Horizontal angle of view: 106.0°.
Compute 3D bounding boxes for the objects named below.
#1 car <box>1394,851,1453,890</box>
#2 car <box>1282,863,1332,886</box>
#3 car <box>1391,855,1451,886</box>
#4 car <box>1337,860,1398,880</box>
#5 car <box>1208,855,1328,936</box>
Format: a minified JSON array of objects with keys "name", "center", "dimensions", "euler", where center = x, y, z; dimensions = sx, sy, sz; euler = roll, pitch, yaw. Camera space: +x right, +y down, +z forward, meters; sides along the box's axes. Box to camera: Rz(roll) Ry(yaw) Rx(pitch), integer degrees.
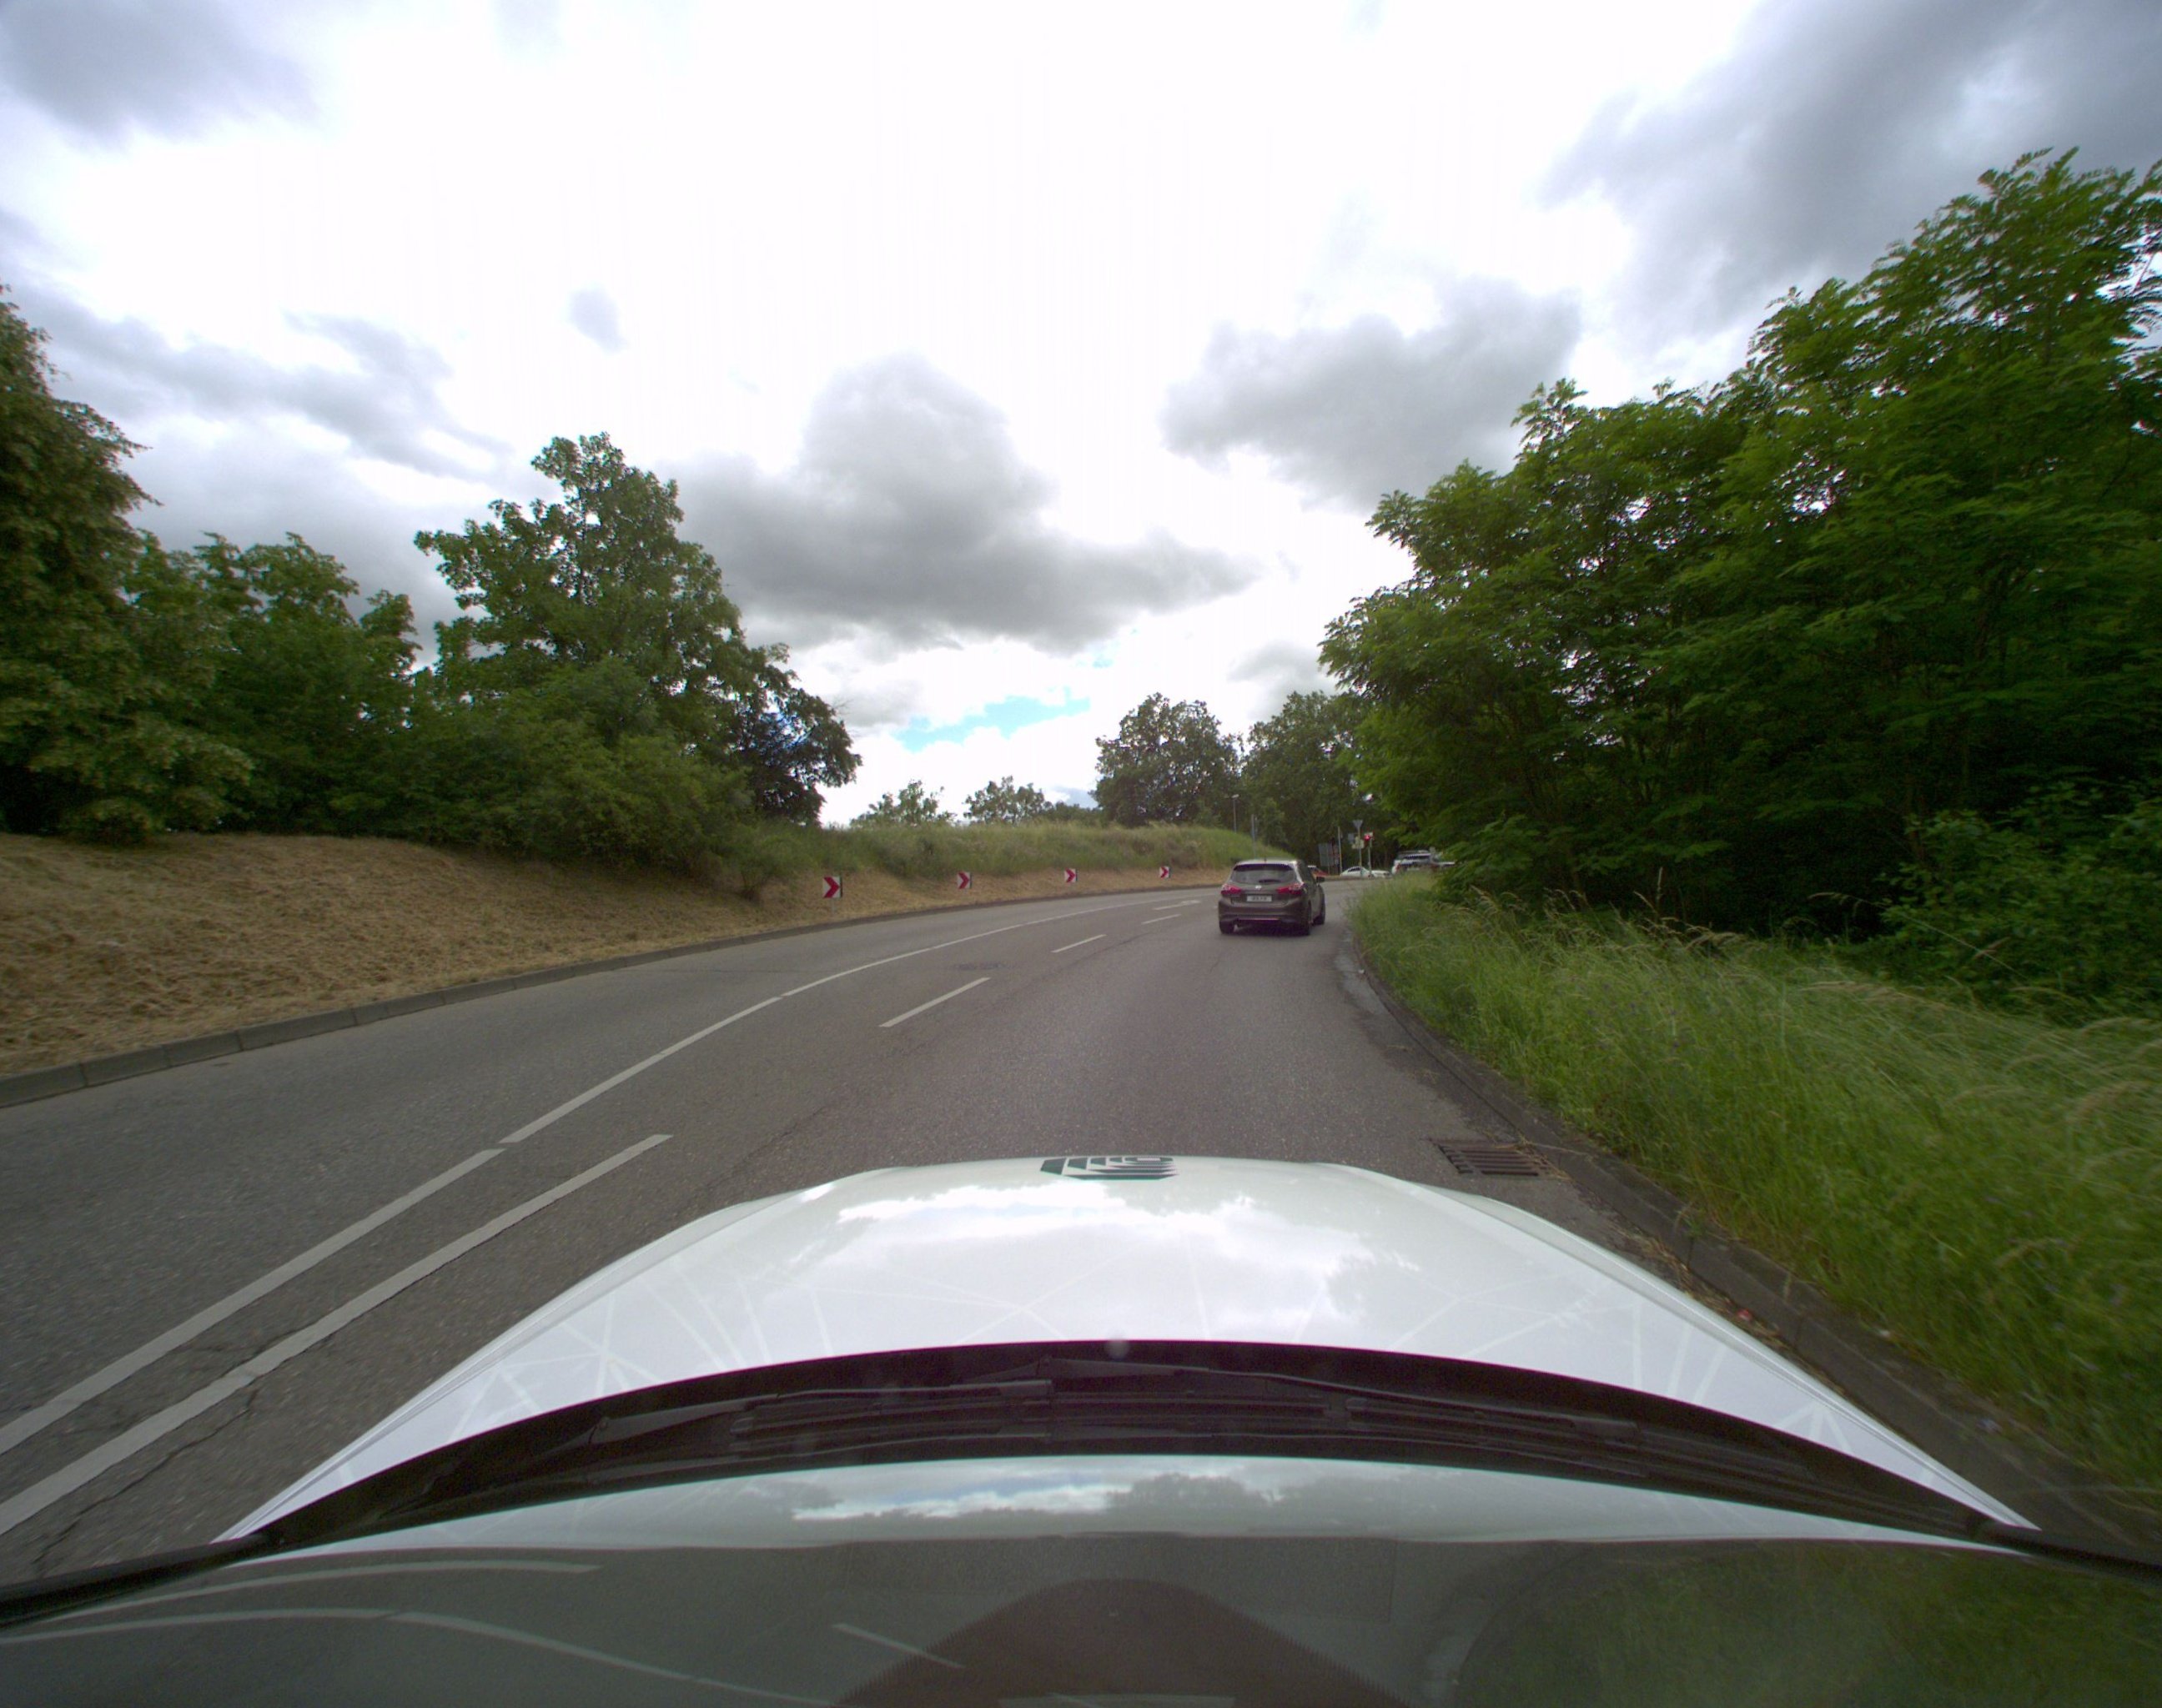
[{"name":"car","center":[14.125,0.633,33.509],"dimensions":[1.882,1.466,4.024],"euler":[0,1,28]},{"name":"car","center":[20.133,1.832,72.601],"dimensions":[1.862,1.814,3.997],"euler":[-1,-4,-32]},{"name":"car","center":[17.699,0.836,42.357],"dimensions":[3.030,1.557,1.563],"euler":[0,0,-37]},{"name":"car","center":[23.495,1.339,66.941],"dimensions":[2.007,1.339,4.374],"euler":[1,-5,-32]},{"name":"car","center":[4.090,0.772,17.351],"dimensions":[1.828,1.493,4.022],"euler":[0,0,22]}]
